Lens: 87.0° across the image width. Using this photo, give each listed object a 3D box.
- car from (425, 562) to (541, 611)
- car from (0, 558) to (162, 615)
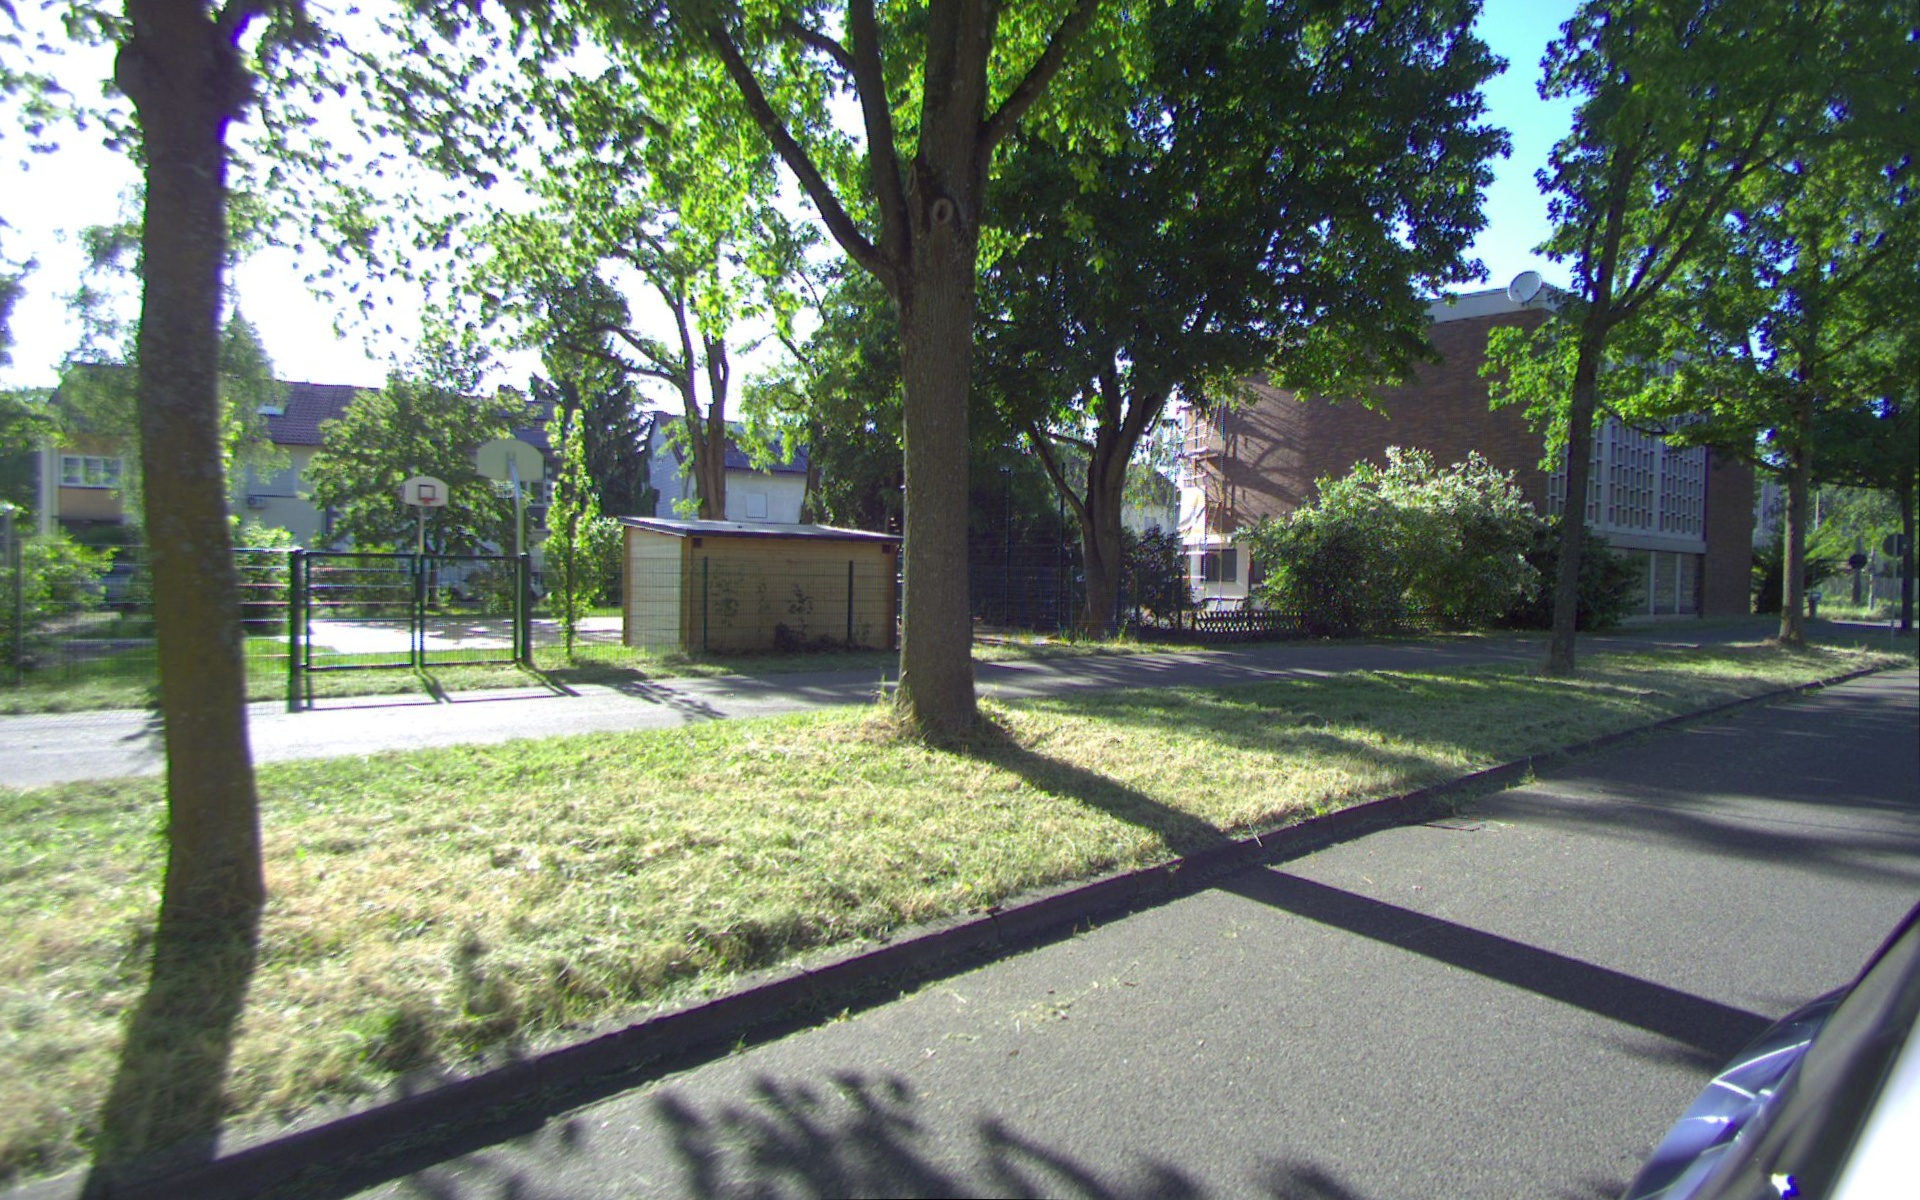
[{"bbox_3d":[-18.488,-0.552,39.426,3.916,1.771,1.910,-1,3,-21],"label":"car"},{"bbox_3d":[-29.561,-0.493,33.993,3.916,1.771,1.910,-1,3,-21],"label":"car"}]
